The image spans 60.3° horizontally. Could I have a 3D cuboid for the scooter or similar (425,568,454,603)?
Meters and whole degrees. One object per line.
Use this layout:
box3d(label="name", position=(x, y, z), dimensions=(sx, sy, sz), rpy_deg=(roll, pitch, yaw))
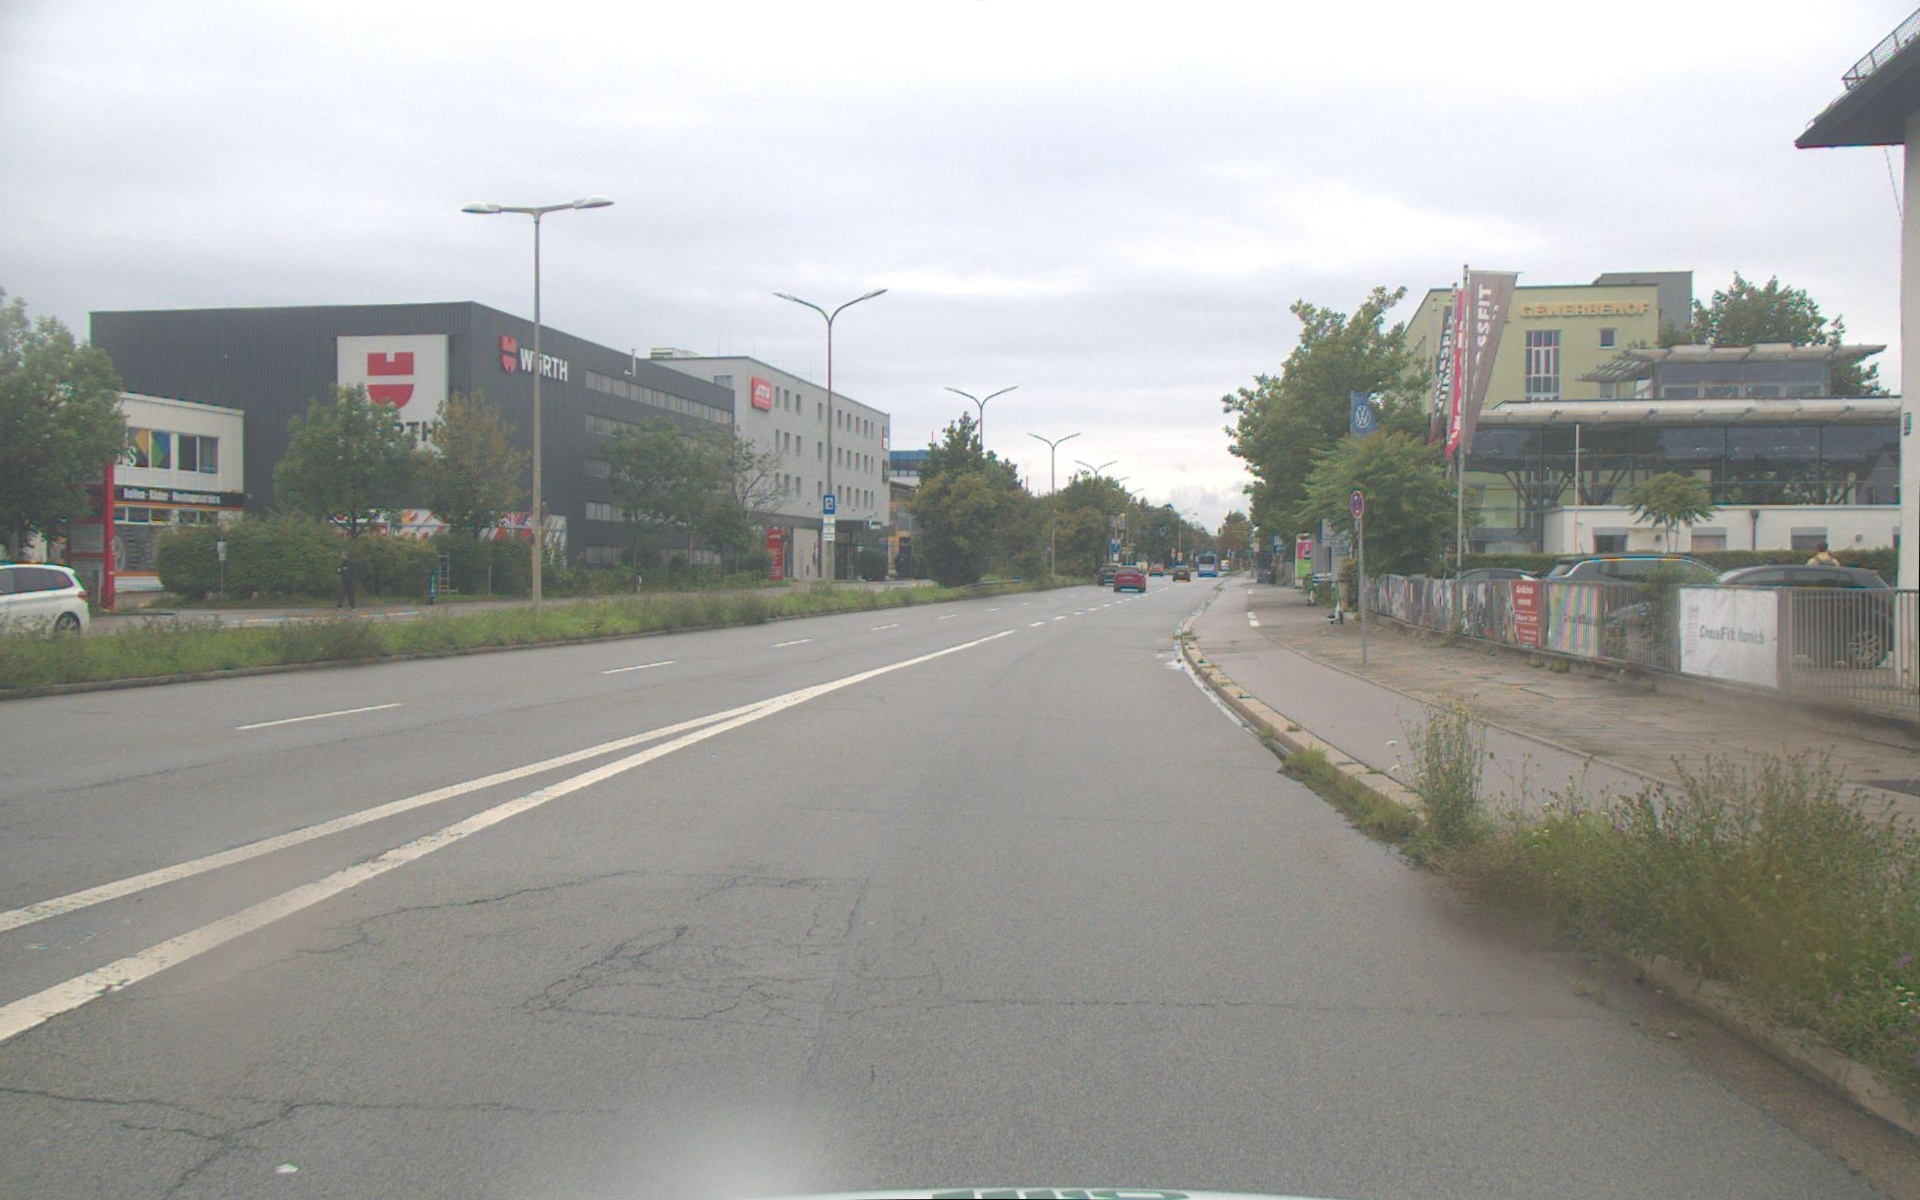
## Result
box3d(label="scooter or similar", position=(-18.957, -0.524, 60.299), dimensions=(0.436, 1.248, 1.388), rpy_deg=(0, 1, 8))

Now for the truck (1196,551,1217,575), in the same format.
box3d(label="truck", position=(34.502, -5.180, 231.800), dimensions=(2.905, 3.342, 7.923), rpy_deg=(0, 1, 8))

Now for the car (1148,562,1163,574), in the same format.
box3d(label="car", position=(25.303, -4.149, 213.855), dimensions=(1.765, 1.457, 4.004), rpy_deg=(0, 1, 8))

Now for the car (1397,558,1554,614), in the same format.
box3d(label="car", position=(14.077, -0.400, 45.337), dimensions=(3.928, 1.485, 1.795), rpy_deg=(0, 1, 10))

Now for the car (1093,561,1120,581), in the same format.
box3d(label="car", position=(10.911, -2.191, 123.351), dimensions=(1.765, 1.457, 4.004), rpy_deg=(0, 1, 8))

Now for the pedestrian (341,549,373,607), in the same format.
box3d(label="pedestrian", position=(-19.479, -0.707, 53.446), dimensions=(0.609, 1.862, 0.818), rpy_deg=(0, 1, 10))

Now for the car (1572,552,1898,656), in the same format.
box3d(label="car", position=(11.416, 0.029, 24.623), dimensions=(4.009, 1.475, 1.929), rpy_deg=(0, 1, 8))

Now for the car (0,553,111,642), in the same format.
box3d(label="car", position=(-18.127, -0.037, 30.542), dimensions=(1.951, 1.599, 4.578), rpy_deg=(0, 1, 10))

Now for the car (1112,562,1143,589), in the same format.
box3d(label="car", position=(10.404, -1.519, 102.728), dimensions=(1.822, 1.646, 4.003), rpy_deg=(1, 1, 7))

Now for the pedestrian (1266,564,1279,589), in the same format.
box3d(label="pedestrian", position=(22.084, -1.663, 116.903), dimensions=(0.742, 1.758, 0.896), rpy_deg=(-3, 1, 8))

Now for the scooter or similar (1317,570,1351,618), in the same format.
box3d(label="scooter or similar", position=(10.071, -0.159, 44.571), dimensions=(0.389, 1.244, 1.639), rpy_deg=(-3, 0, -3))

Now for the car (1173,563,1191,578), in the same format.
box3d(label="car", position=(22.875, -3.036, 170.458), dimensions=(1.765, 1.457, 4.004), rpy_deg=(0, 1, 8))

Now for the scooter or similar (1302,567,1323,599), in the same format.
box3d(label="scooter or similar", position=(13.931, -0.691, 65.330), dimensions=(0.485, 1.225, 1.430), rpy_deg=(-3, 0, 1))

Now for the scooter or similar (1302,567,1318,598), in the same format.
box3d(label="scooter or similar", position=(14.290, -0.715, 67.569), dimensions=(0.485, 1.225, 1.431), rpy_deg=(-3, 2, 7))

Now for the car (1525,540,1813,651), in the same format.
box3d(label="car", position=(11.652, -0.108, 27.430), dimensions=(4.009, 1.756, 1.929), rpy_deg=(0, 1, 8))

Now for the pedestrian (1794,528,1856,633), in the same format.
box3d(label="pedestrian", position=(16.261, -0.368, 31.098), dimensions=(0.717, 1.935, 0.932), rpy_deg=(0, 1, 5))
